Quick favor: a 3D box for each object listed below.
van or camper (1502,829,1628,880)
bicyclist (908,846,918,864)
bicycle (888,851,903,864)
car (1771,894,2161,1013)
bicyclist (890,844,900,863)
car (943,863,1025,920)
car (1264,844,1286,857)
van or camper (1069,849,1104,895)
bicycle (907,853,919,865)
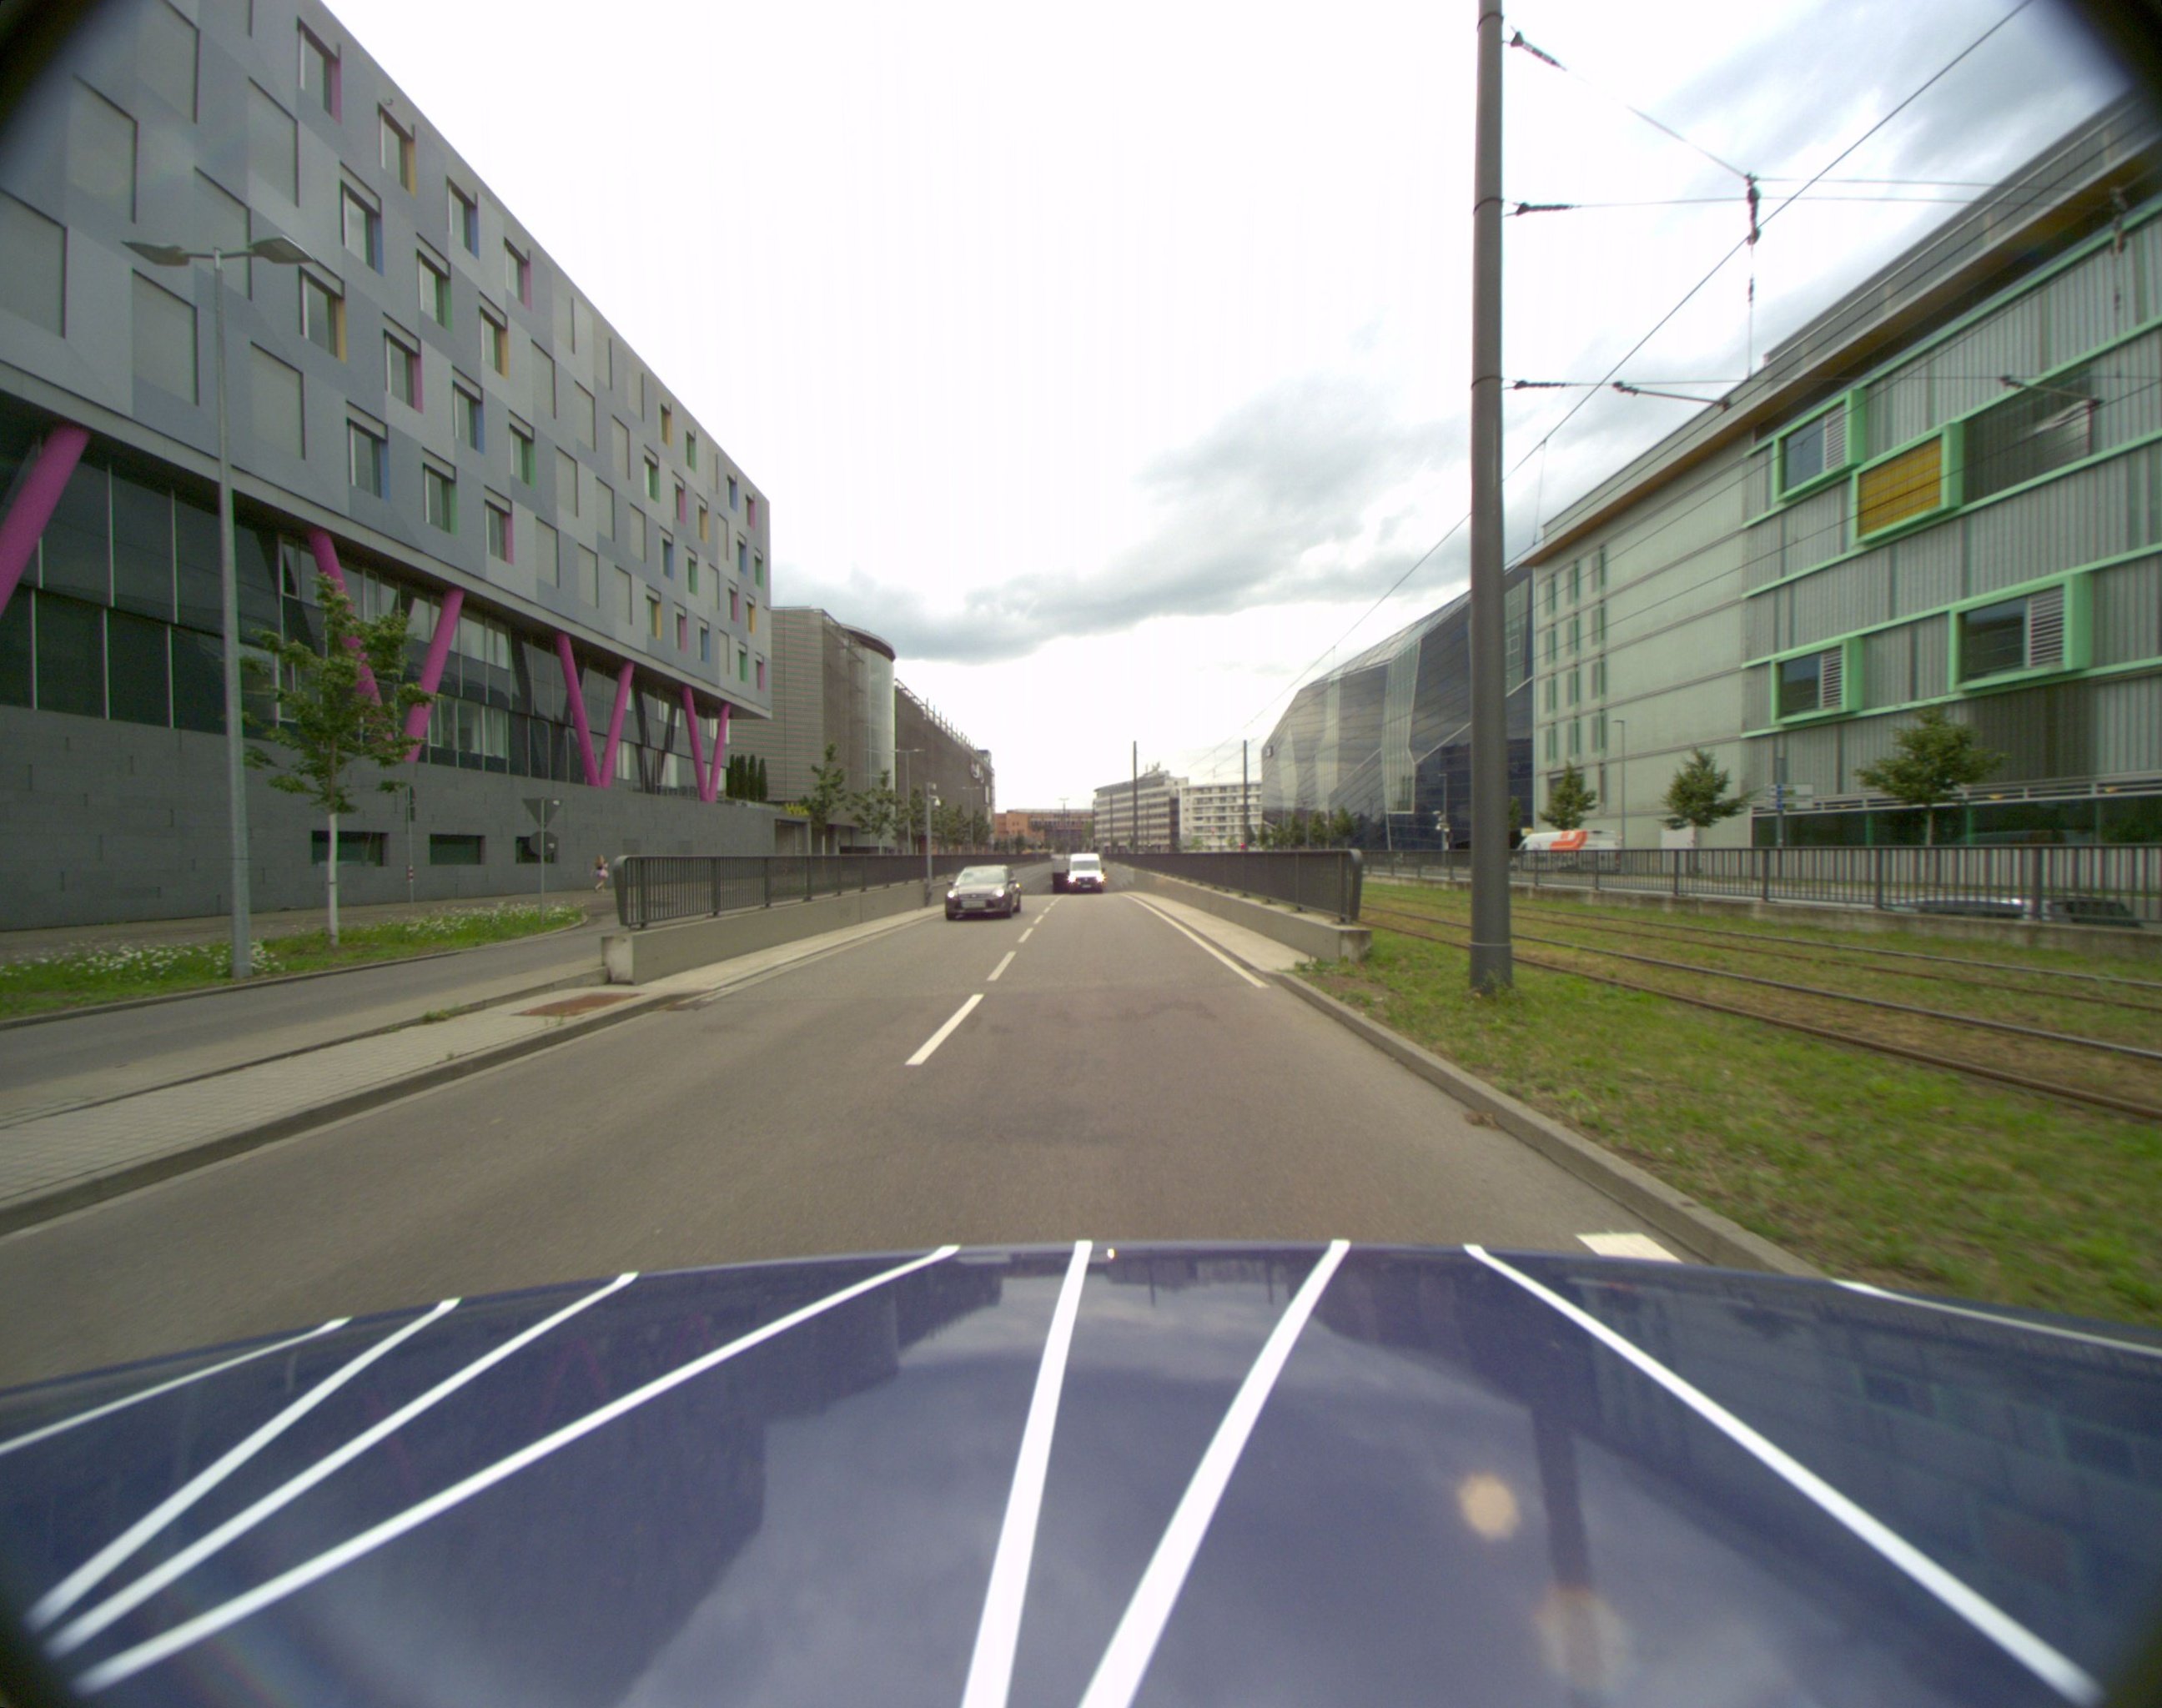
[{"bbox_3d":[23.775,0.017,37.730,2.178,2.273,6.506,-2,0,1],"label":"van or camper"},{"bbox_3d":[-17.715,0.122,80.112,0.784,1.792,0.705,-2,0,0],"label":"bicyclist"},{"bbox_3d":[-18.054,0.375,73.940,0.801,1.151,2.346,-2,-4,0],"label":"bicycle"},{"bbox_3d":[16.116,1.675,14.085,1.999,1.751,4.974,-2,-4,0],"label":"car"},{"bbox_3d":[-18.060,-0.015,73.669,0.784,1.791,0.705,-2,-3,0],"label":"bicyclist"},{"bbox_3d":[-2.723,1.076,22.183,1.752,1.490,4.270,-1,-2,1],"label":"car"},{"bbox_3d":[26.496,-0.450,103.892,1.998,1.583,4.768,-1,-1,3],"label":"car"},{"bbox_3d":[0.336,1.215,47.536,2.043,2.570,5.045,-1,-4,0],"label":"van or camper"},{"bbox_3d":[-17.708,0.533,80.150,0.801,1.151,2.345,-2,0,0],"label":"bicycle"}]
